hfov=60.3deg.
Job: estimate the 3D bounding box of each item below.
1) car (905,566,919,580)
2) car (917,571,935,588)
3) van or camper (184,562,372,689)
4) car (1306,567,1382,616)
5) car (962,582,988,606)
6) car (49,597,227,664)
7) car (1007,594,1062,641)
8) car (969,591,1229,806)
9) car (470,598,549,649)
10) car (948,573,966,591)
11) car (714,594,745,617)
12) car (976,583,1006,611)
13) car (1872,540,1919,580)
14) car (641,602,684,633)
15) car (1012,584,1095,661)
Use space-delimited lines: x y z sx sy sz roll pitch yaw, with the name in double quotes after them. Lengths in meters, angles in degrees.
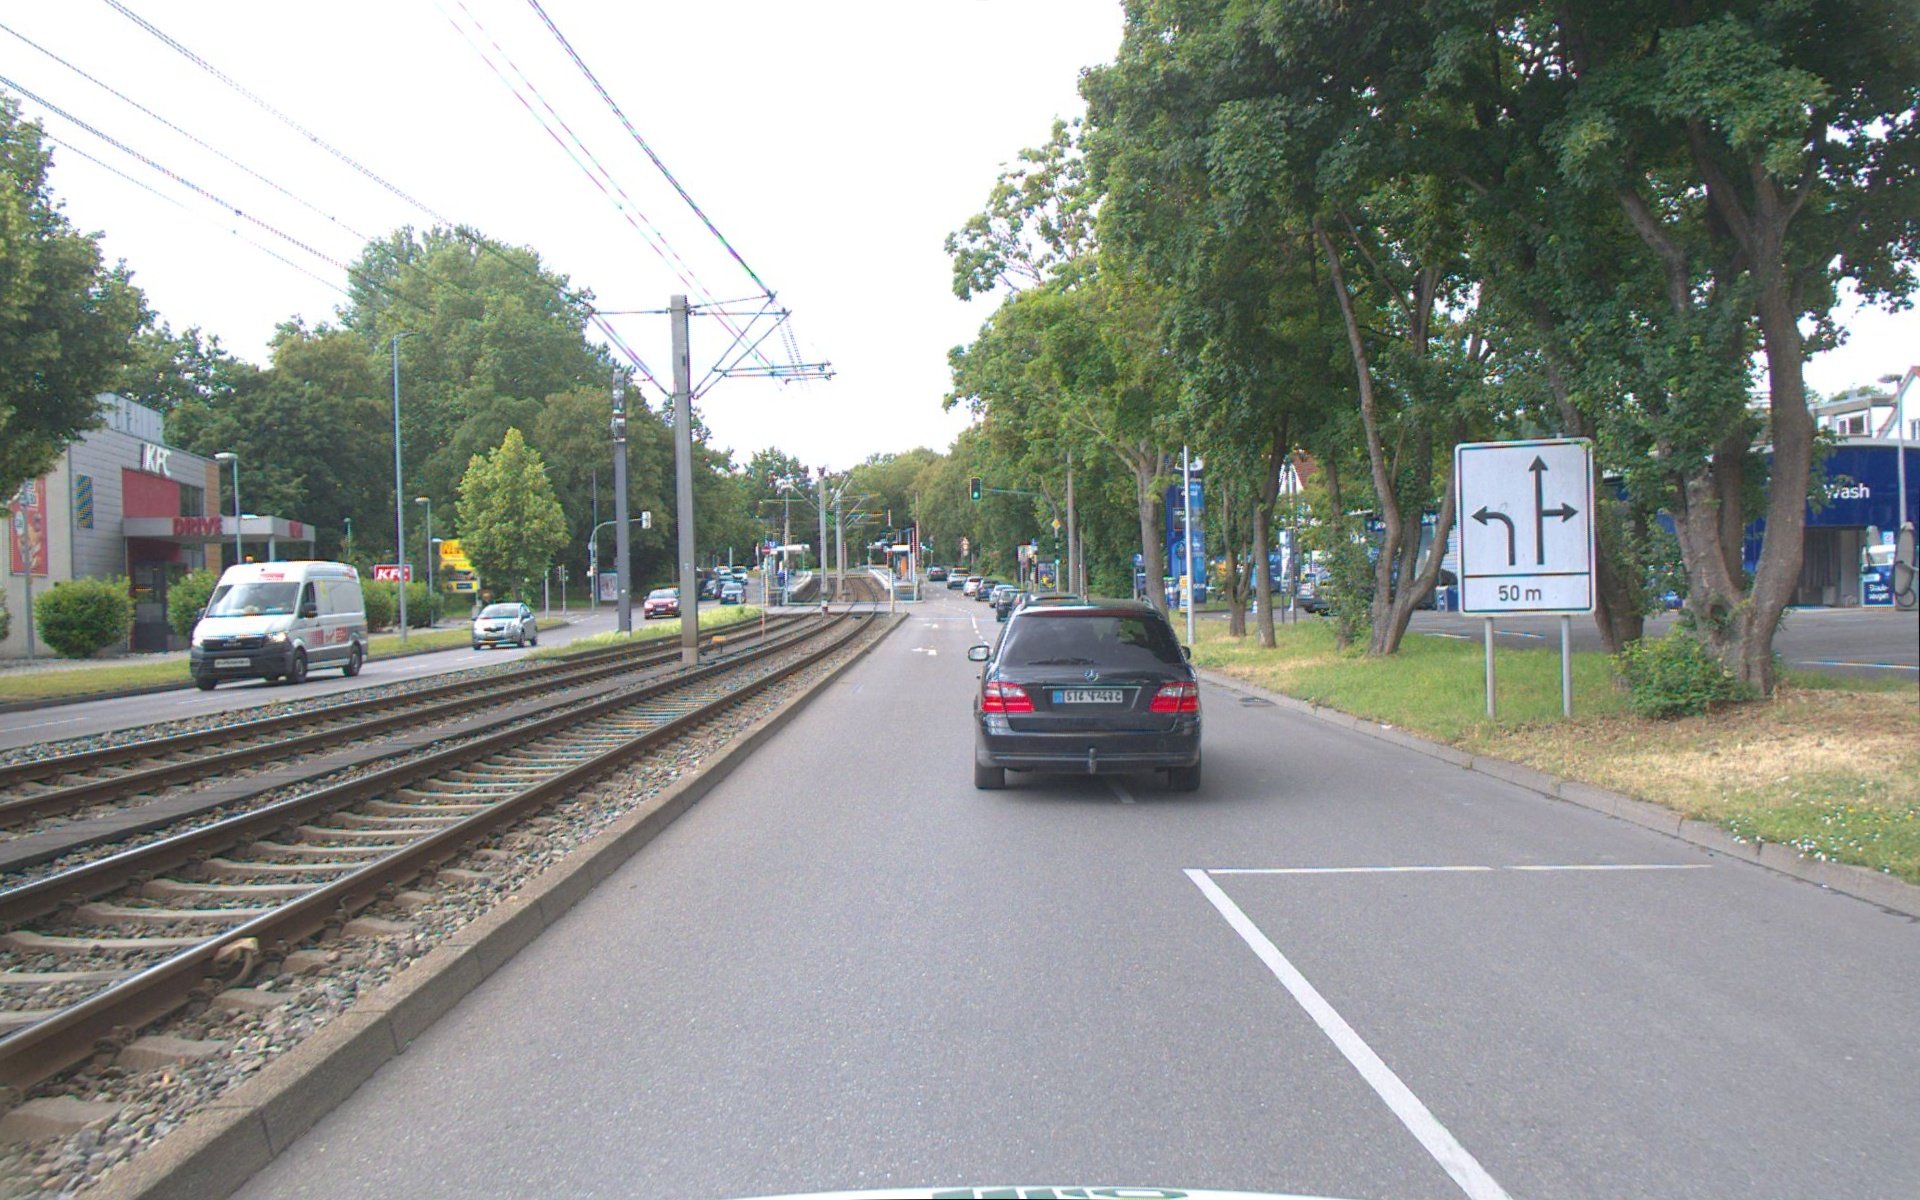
-5.815 -3.257 199.893 1.634 1.559 3.768 0 0 -4 "car"
-3.786 -2.244 186.034 1.953 1.870 3.999 0 0 -1 "car"
-14.267 0.482 35.020 1.955 2.395 5.760 -2 0 -5 "van or camper"
14.507 -0.331 62.308 1.965 1.712 4.579 -2 1 23 "car"
1.186 -0.488 130.266 1.953 1.870 3.999 0 0 -1 "car"
-22.337 0.804 45.059 3.910 1.627 1.794 -2 0 -6 "car"
2.337 0.533 52.519 1.539 1.439 3.353 1 0 -1 "car"
0.999 0.689 13.657 1.771 1.500 3.880 0 1 -1 "car"
-15.535 0.786 57.254 1.729 1.676 3.770 0 0 -1 "car"
-0.305 -1.638 148.671 1.616 1.581 3.647 0 0 -1 "car"
-16.500 0.381 118.754 1.729 1.676 3.770 0 0 -1 "car"
2.105 -0.202 113.704 1.953 1.870 3.999 0 0 -1 "car"
42.568 -1.741 72.593 4.132 1.713 1.776 0 0 -4 "car"
-16.413 0.967 91.521 1.729 1.676 3.770 0 0 -1 "car"
2.233 0.522 40.193 1.744 1.781 3.717 1 0 -1 "car"
